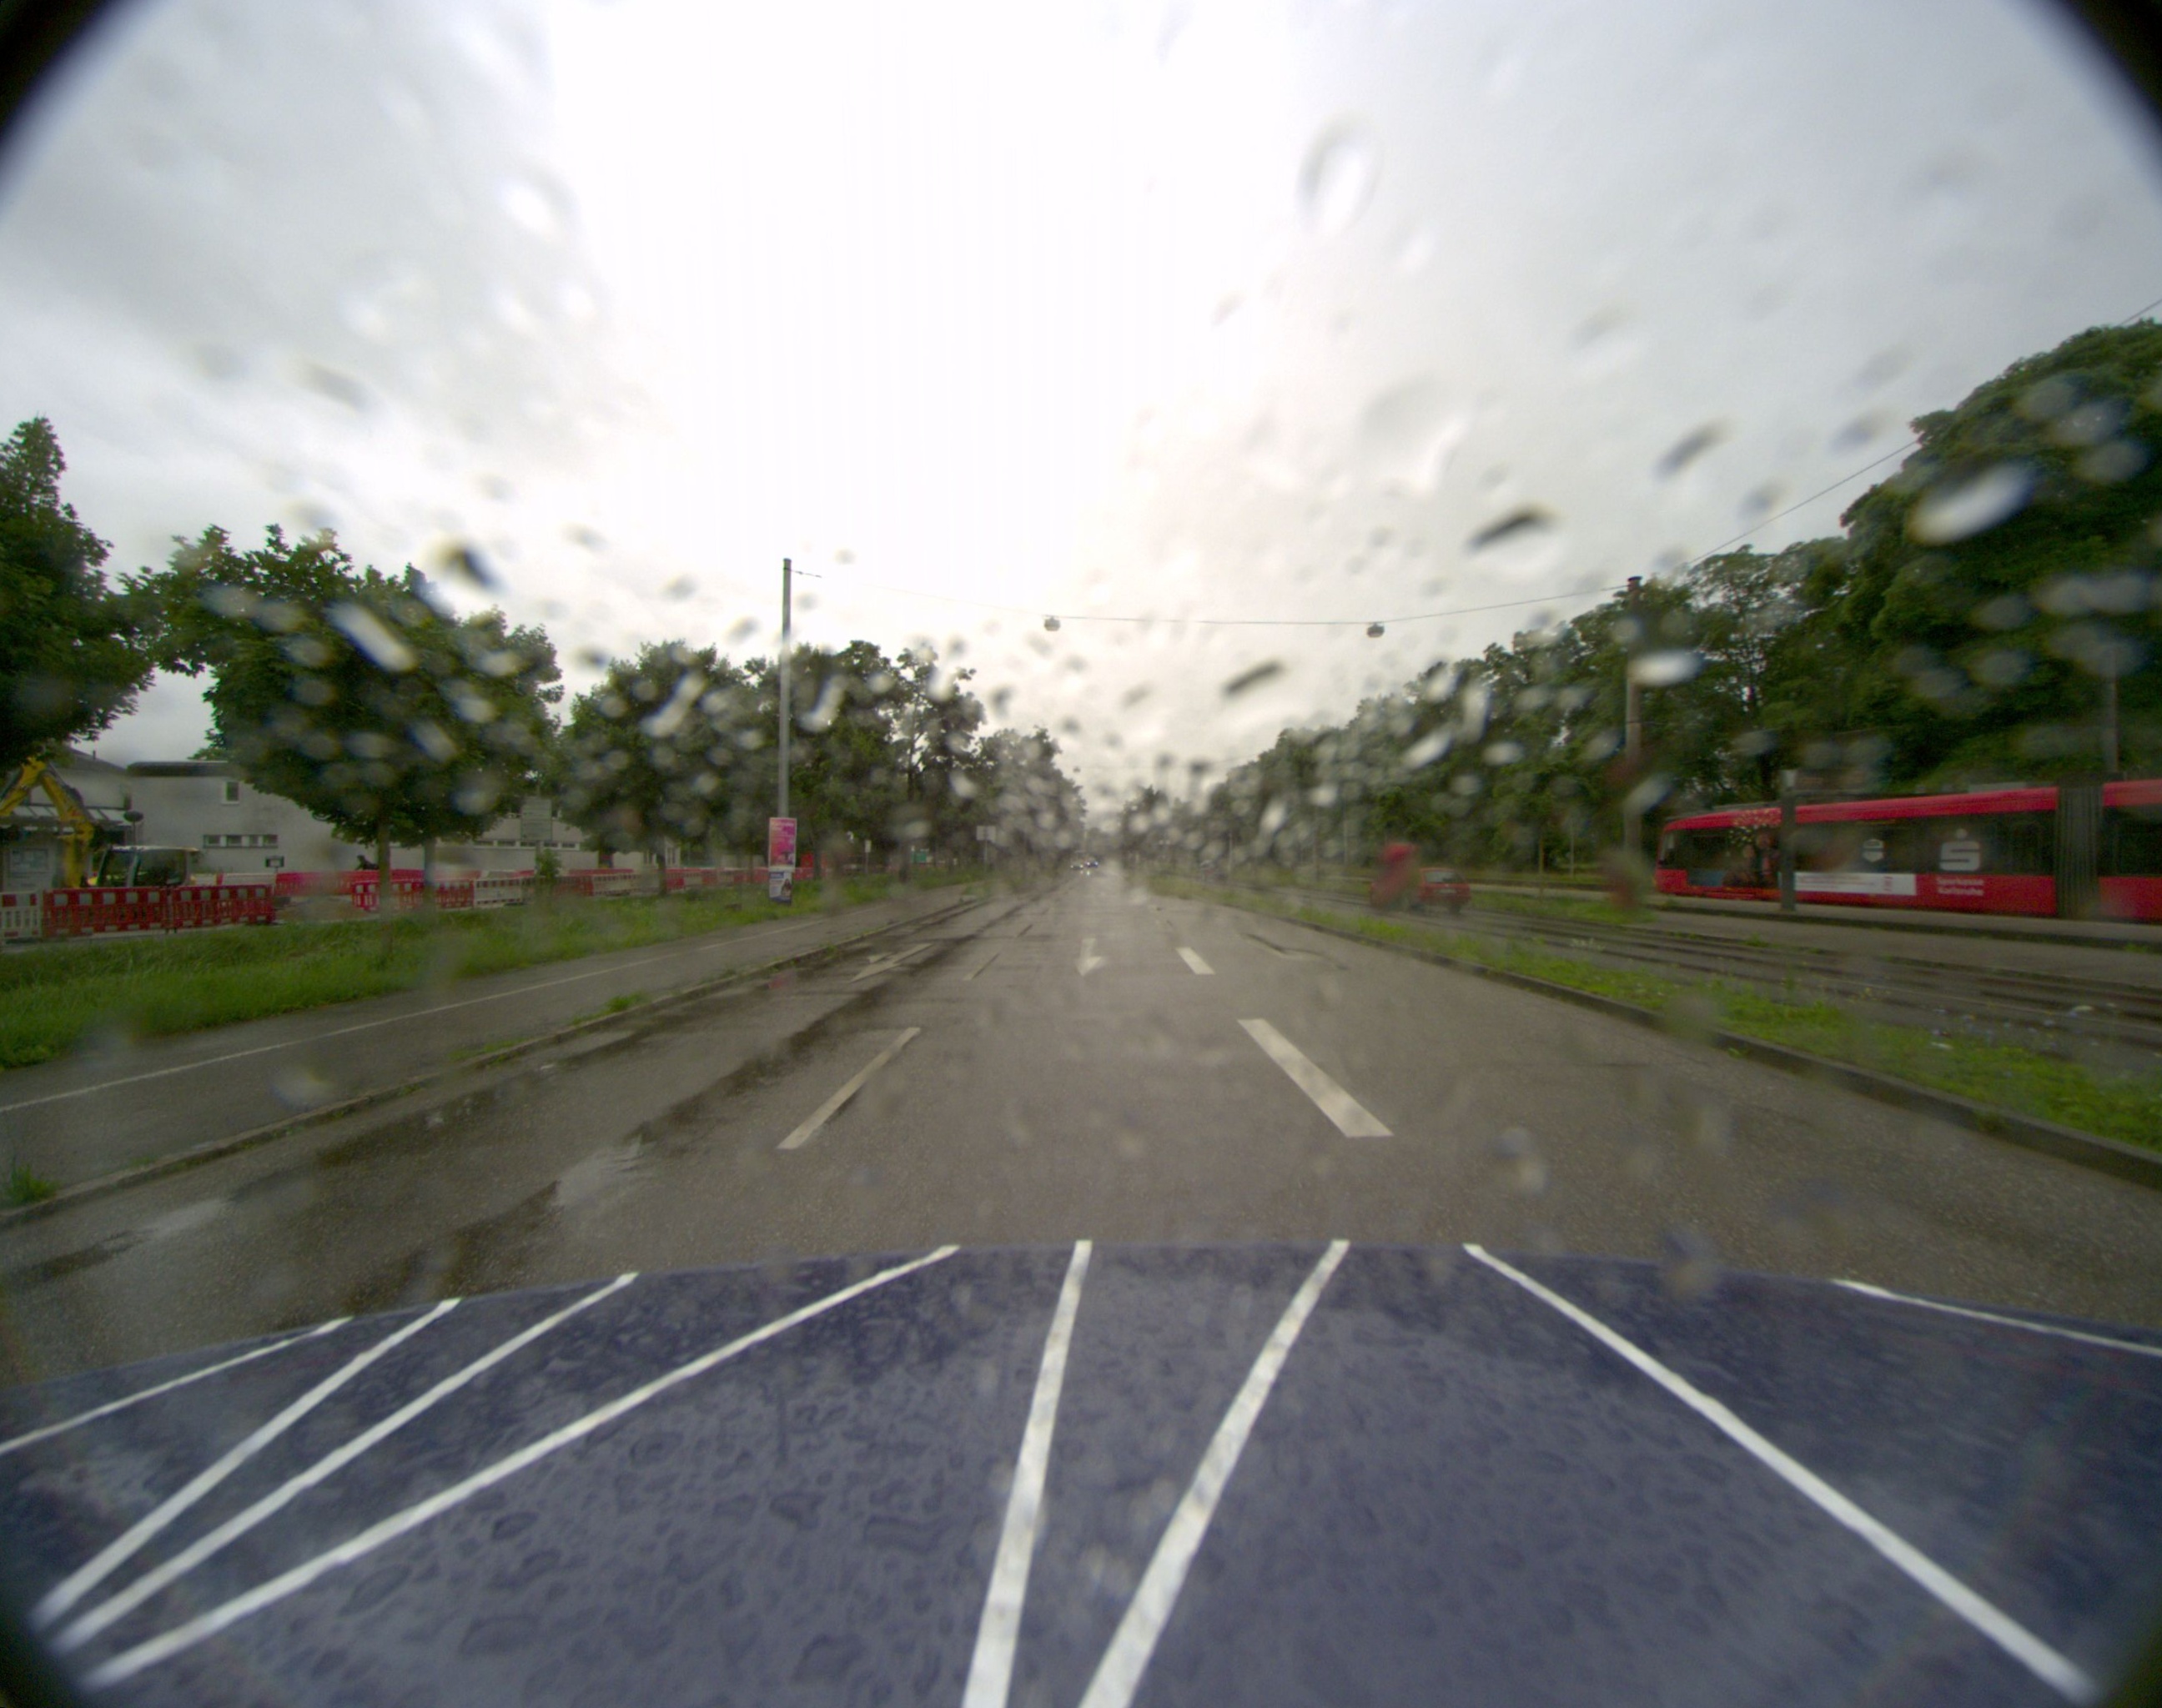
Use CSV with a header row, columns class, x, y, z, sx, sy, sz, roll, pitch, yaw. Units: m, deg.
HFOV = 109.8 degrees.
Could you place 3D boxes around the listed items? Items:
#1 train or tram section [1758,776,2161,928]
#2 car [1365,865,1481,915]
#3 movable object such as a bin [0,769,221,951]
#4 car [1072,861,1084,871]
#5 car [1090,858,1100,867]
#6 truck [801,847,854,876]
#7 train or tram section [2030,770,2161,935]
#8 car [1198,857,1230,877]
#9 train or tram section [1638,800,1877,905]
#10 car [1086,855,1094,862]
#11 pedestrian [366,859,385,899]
class,x,y,z,sx,sy,sz,roll,pitch,yaw
train or tram section,23.955,-0.047,20.991,3.542,3.392,7.903,0,0,1
car,10.873,1.098,24.490,1.685,1.353,4.251,2,0,-2
movable object such as a bin,-26.293,0.150,20.437,1.557,4.401,3.909,-2,1,2
car,-0.530,1.944,124.851,1.858,1.583,3.999,-2,1,-1
car,2.773,1.661,150.863,1.812,1.683,3.776,-2,1,0
truck,-27.378,0.772,82.520,2.811,2.882,8.749,-2,1,0
train or tram section,23.860,-0.043,12.581,3.542,3.381,10.261,0,0,1
car,9.943,0.951,57.038,1.741,1.428,3.820,-1,1,1
train or tram section,24.039,-0.051,27.496,3.542,3.398,5.769,0,0,1
car,2.211,1.199,189.931,1.898,1.601,4.000,-2,1,1
pedestrian,-32.206,1.133,34.667,0.363,1.831,0.496,-1,1,2
